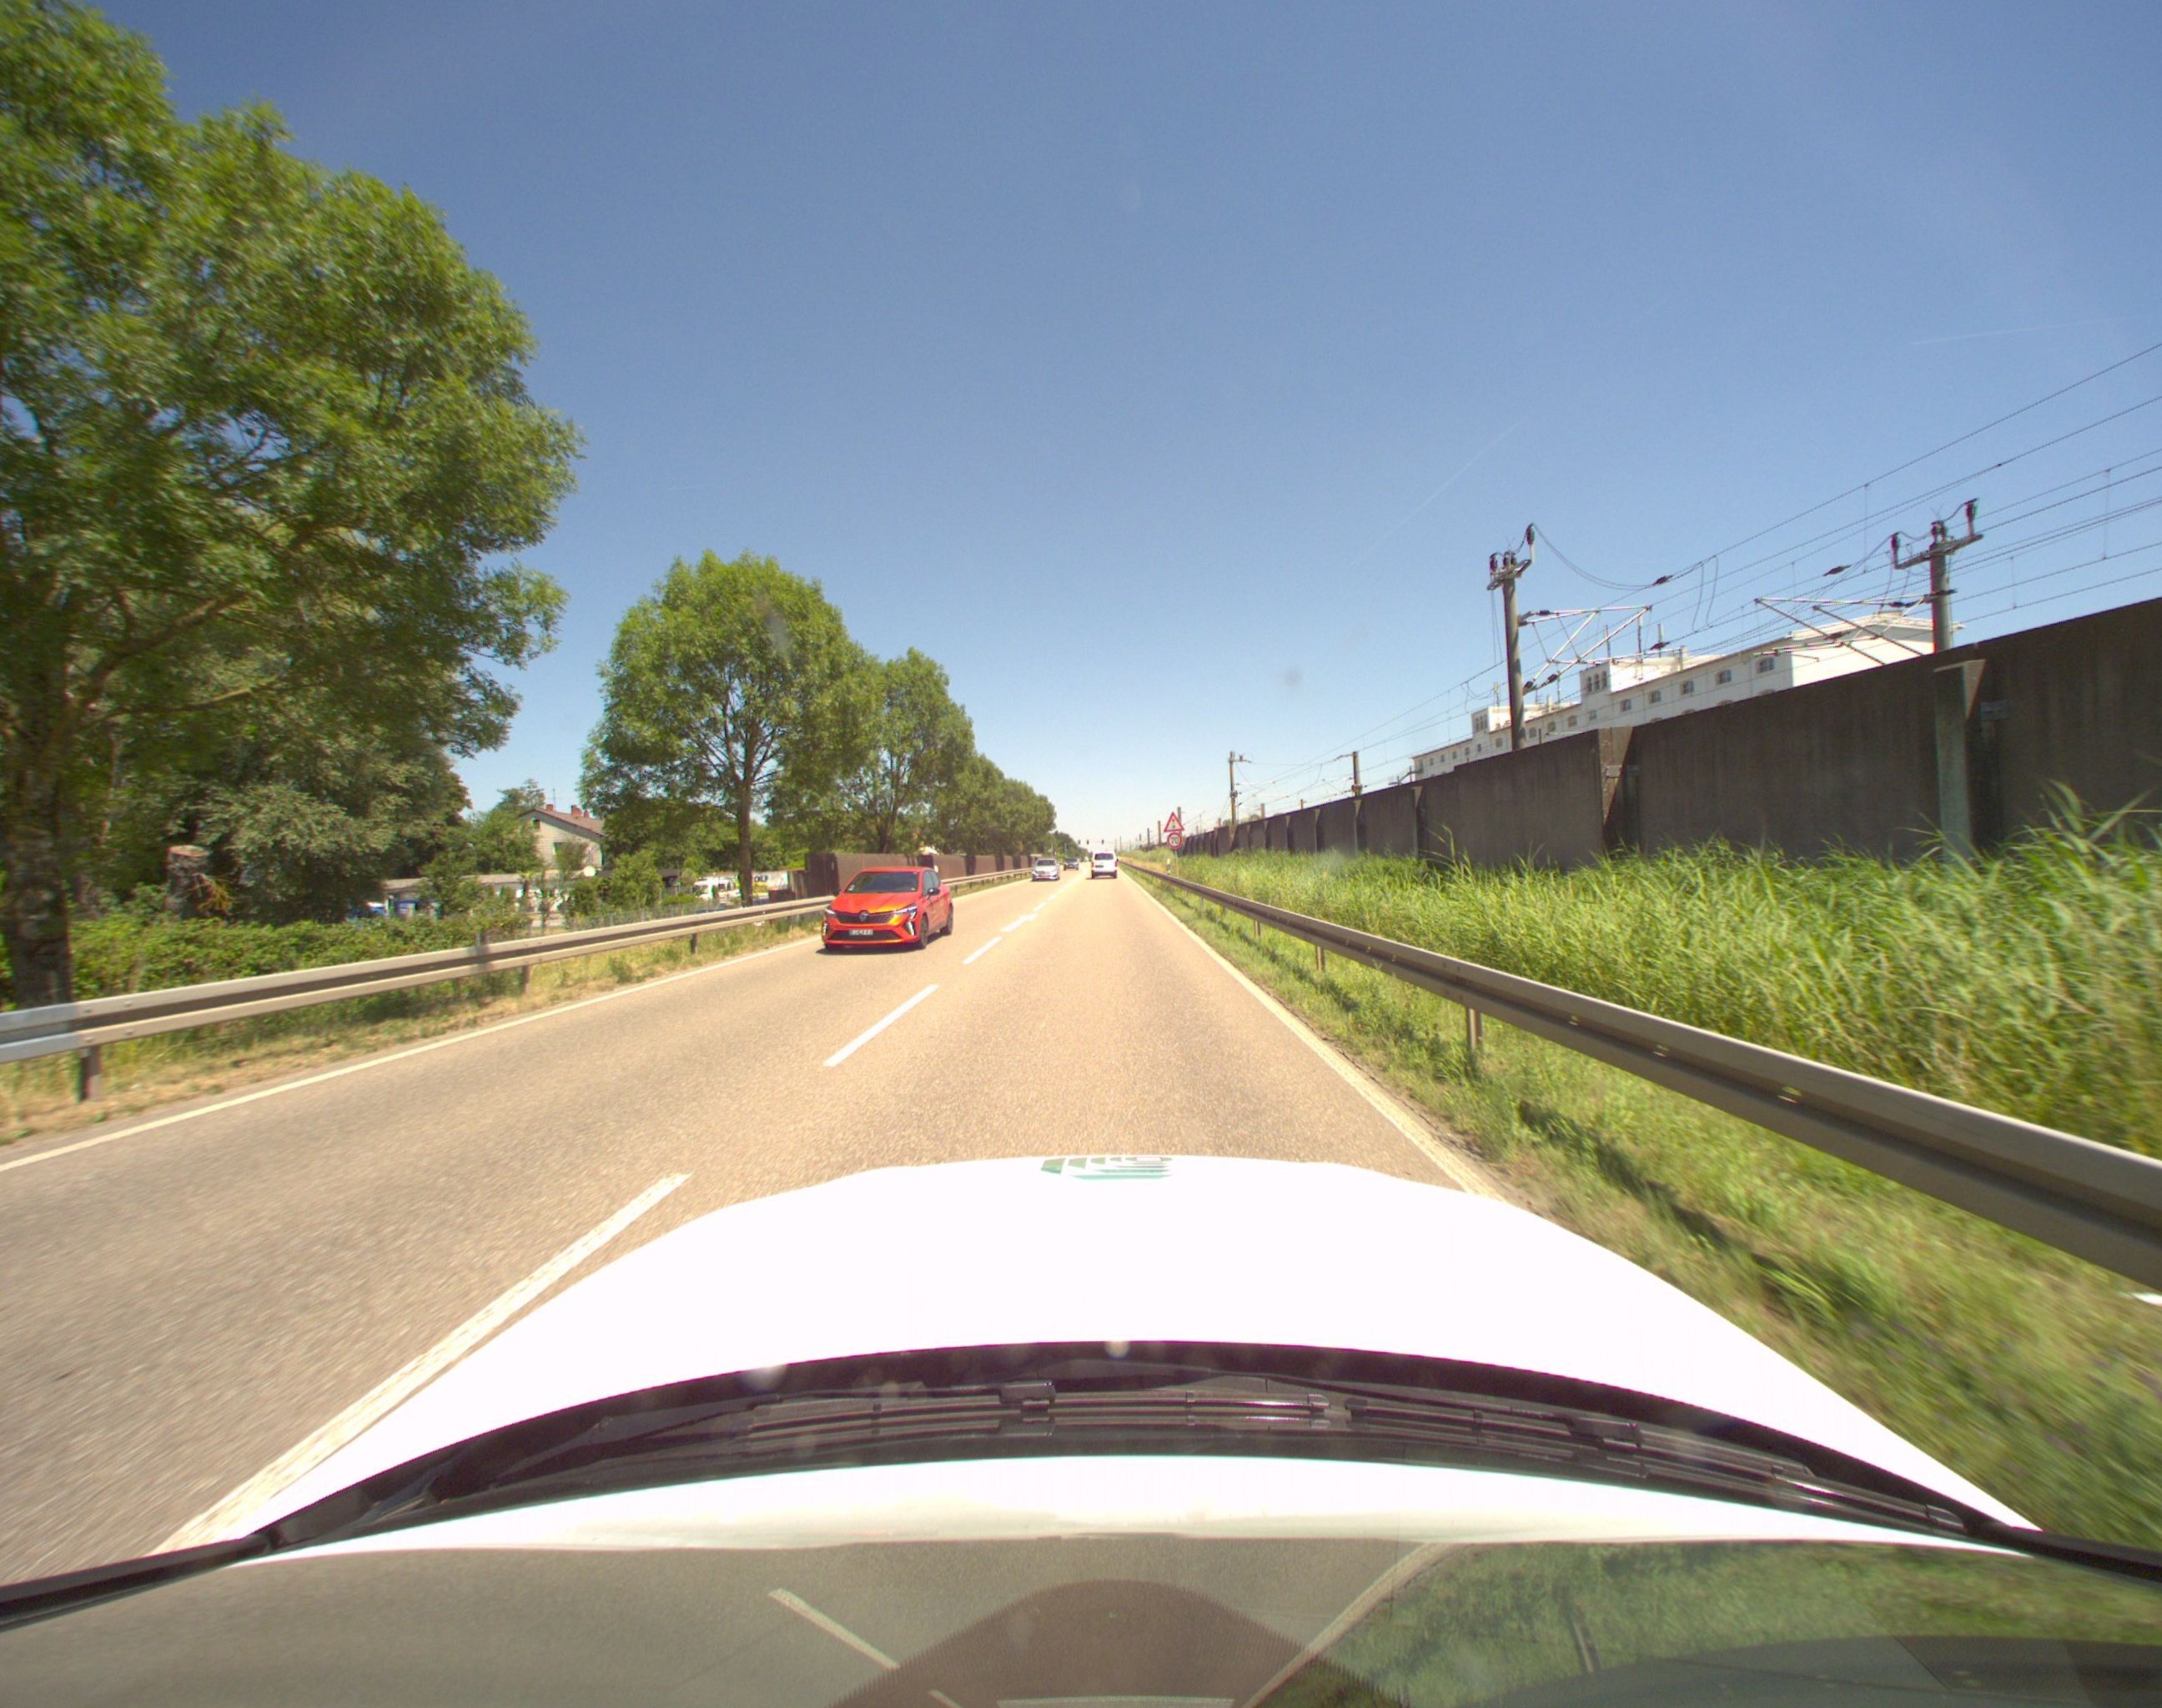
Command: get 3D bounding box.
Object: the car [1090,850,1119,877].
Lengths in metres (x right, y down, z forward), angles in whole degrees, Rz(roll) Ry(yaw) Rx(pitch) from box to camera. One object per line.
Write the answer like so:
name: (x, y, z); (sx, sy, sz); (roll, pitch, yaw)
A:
car: (1.723, 0.686, 58.743); (1.986, 1.850, 4.002); (0, 0, 2)

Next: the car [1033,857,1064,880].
car: (-2.192, 0.976, 56.773); (1.782, 1.525, 4.392); (-2, 0, 2)

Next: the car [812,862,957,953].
car: (-3.544, 0.902, 15.435); (1.784, 1.421, 3.998); (-2, 0, -1)

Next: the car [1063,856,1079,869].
car: (-1.198, 1.067, 99.621); (1.783, 1.525, 4.390); (-2, 0, 1)

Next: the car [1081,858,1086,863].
car: (0.800, 2.099, 259.969); (1.813, 1.596, 4.000); (0, 0, 0)
